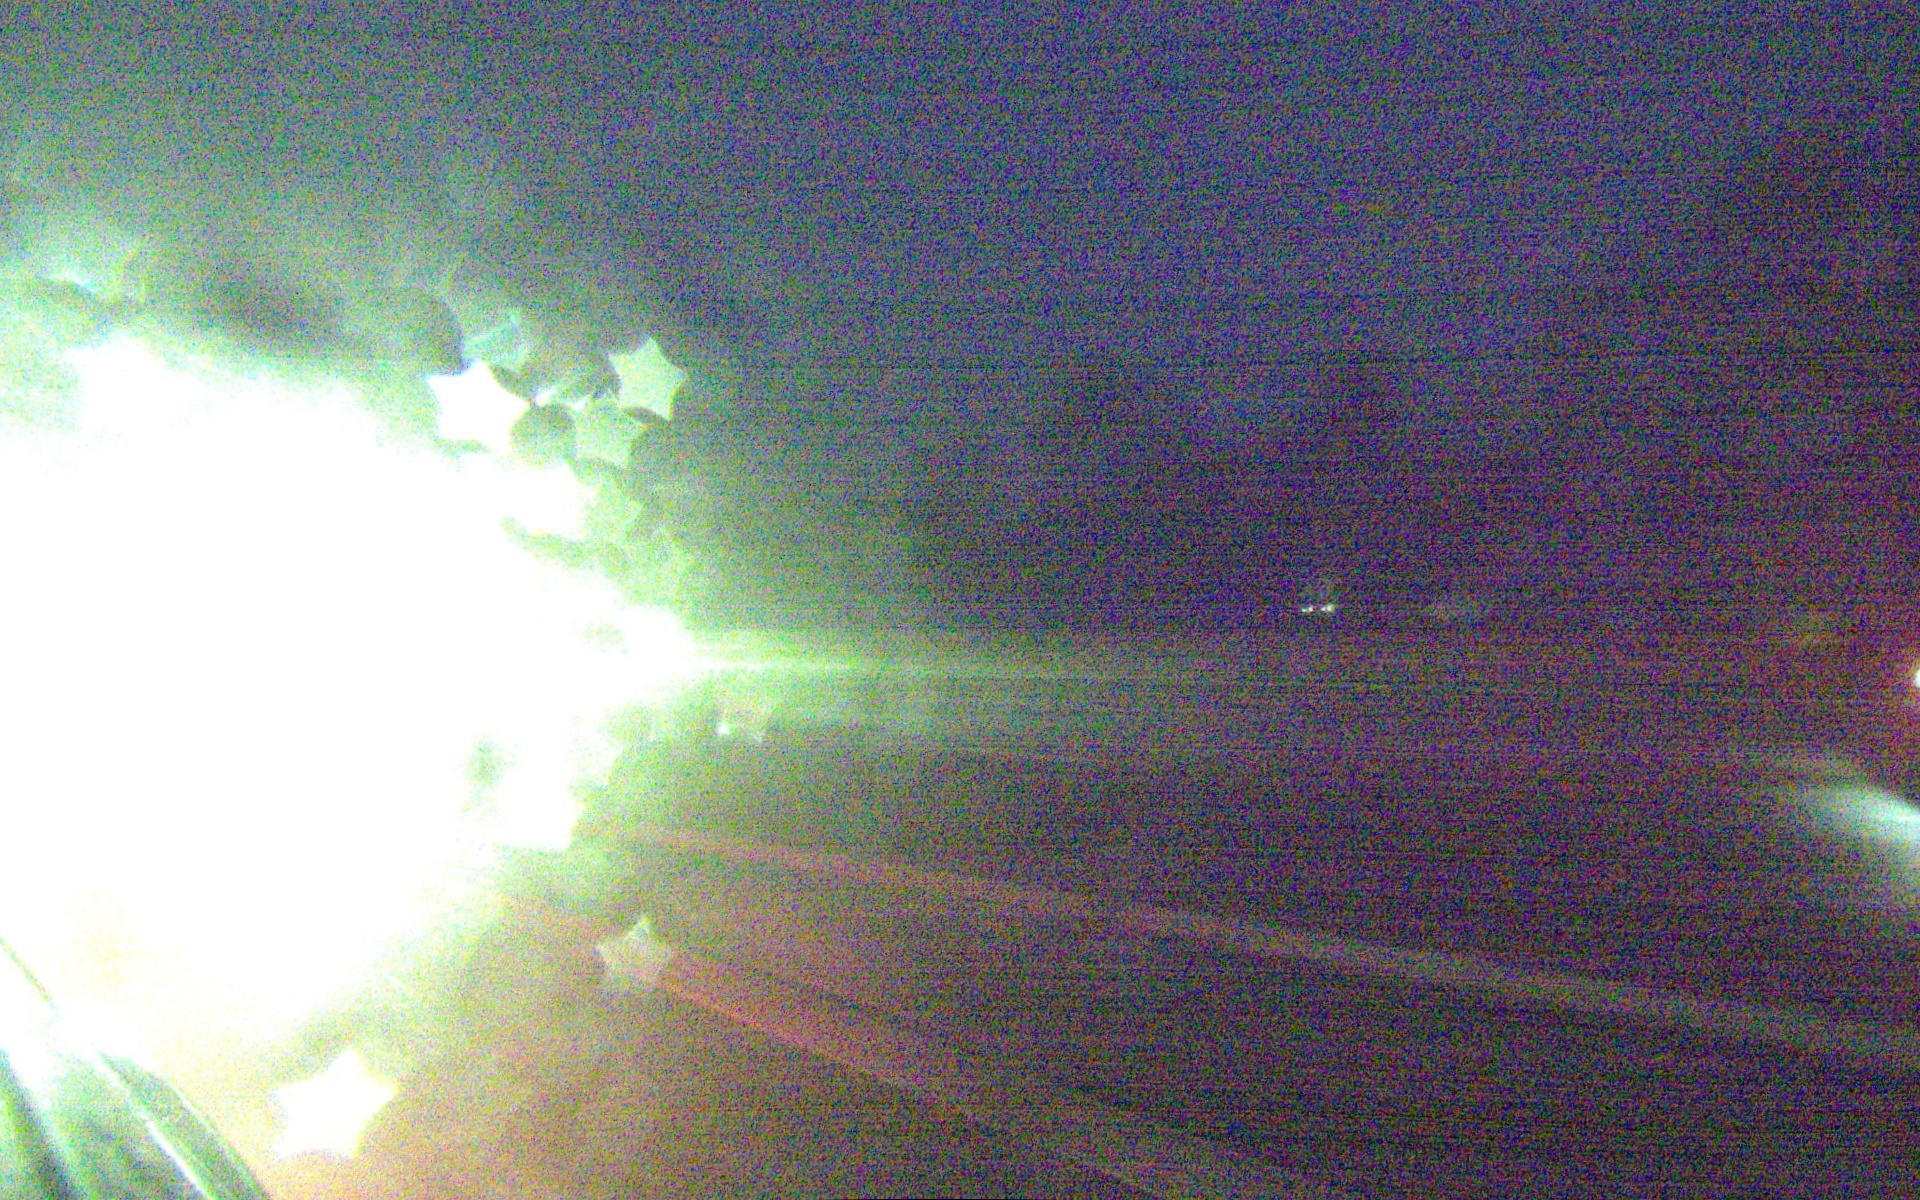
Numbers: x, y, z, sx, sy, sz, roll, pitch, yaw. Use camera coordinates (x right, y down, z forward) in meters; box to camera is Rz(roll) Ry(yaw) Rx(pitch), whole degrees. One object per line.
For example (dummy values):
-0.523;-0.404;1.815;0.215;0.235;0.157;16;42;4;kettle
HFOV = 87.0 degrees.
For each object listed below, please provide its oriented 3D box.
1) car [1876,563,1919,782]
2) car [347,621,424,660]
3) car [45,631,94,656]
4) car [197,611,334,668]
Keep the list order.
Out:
8.215;0.444;5.897;3.990;1.452;1.977;-1;1;35;car
-29.401;2.045;51.755;3.990;1.821;1.888;-1;1;35;car
-71.749;3.476;81.513;3.986;1.821;1.890;-1;1;32;car
-21.296;1.171;30.976;4.577;1.572;1.977;-1;1;35;car
